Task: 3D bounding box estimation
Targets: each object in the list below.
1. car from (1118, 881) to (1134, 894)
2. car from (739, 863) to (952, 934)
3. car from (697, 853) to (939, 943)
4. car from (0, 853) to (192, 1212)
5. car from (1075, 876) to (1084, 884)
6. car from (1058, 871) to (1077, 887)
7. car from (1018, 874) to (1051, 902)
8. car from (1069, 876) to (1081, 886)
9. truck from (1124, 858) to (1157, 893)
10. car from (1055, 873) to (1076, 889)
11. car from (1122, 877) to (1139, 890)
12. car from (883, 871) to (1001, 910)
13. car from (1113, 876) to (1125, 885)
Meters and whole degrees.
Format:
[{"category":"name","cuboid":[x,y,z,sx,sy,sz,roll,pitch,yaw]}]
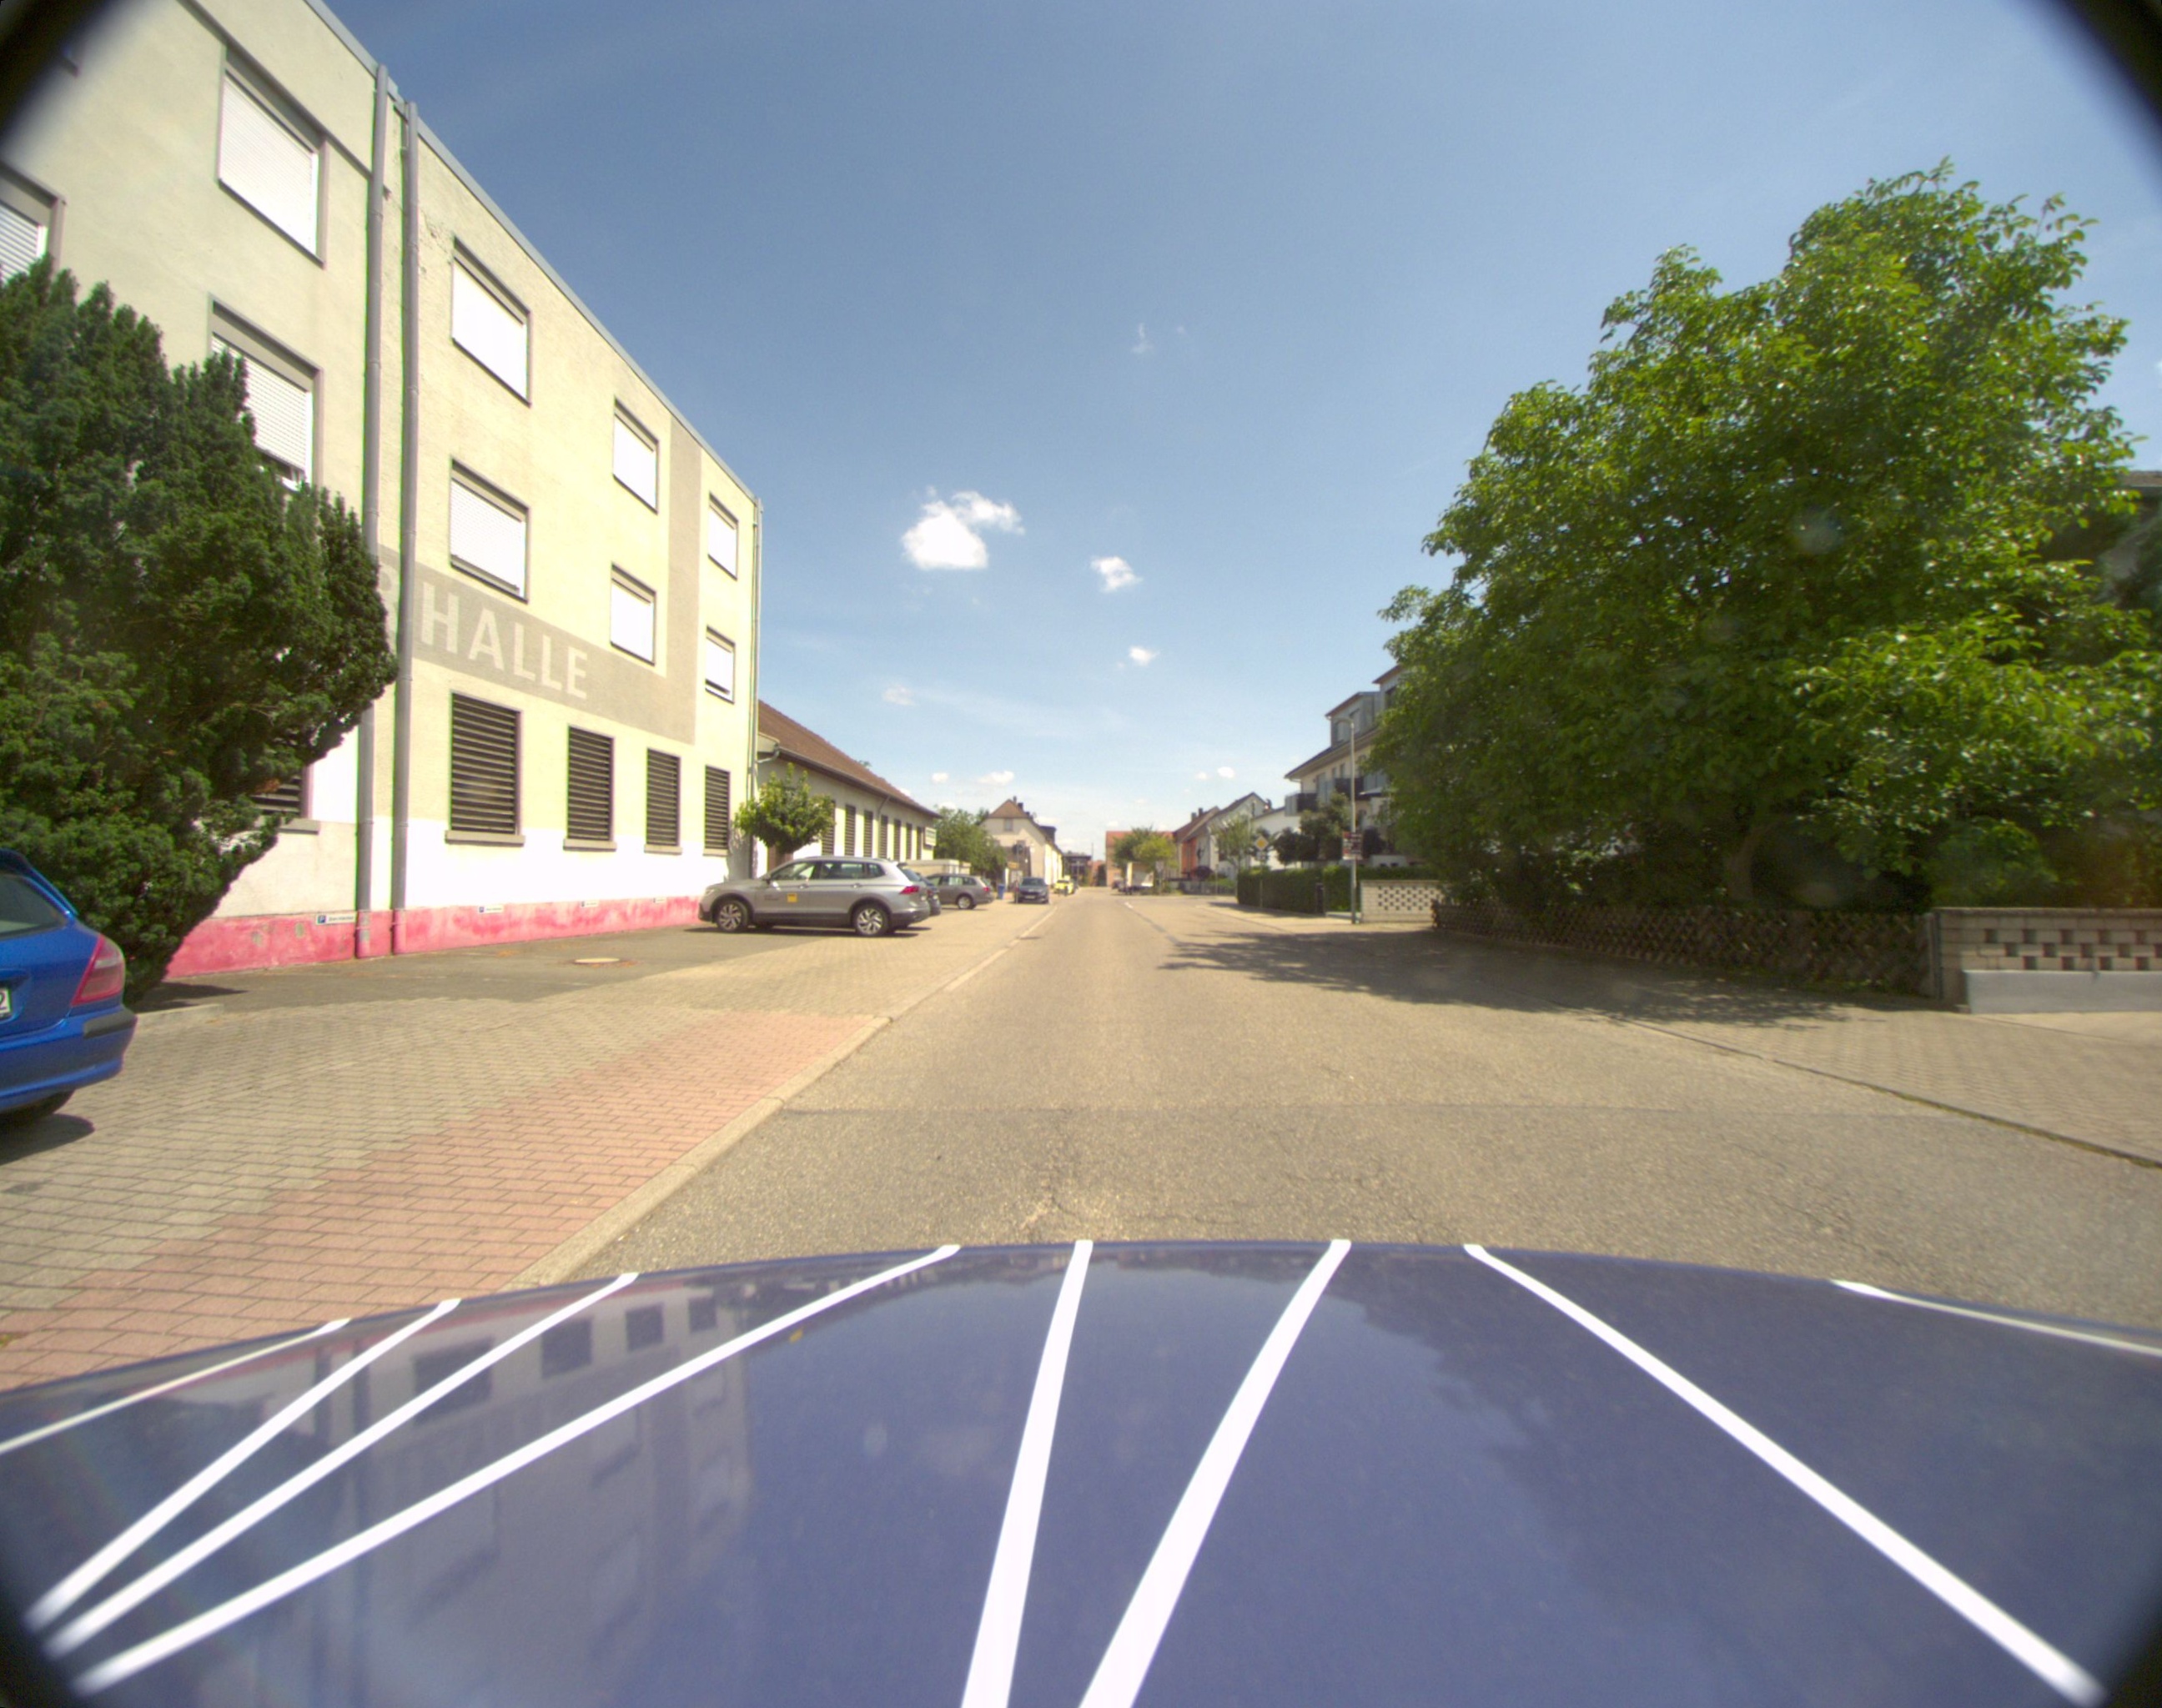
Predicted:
[{"category":"car","cuboid":[5.733,4.286,97.555,1.720,1.491,4.216,2,-2,0]},{"category":"car","cuboid":[-5.602,1.056,18.527,4.512,1.510,2.000,2,-1,0]},{"category":"car","cuboid":[-5.460,0.914,16.253,4.465,1.686,1.923,2,-1,-1]},{"category":"car","cuboid":[-6.620,0.651,2.894,4.333,1.431,1.779,3,1,0]},{"category":"car","cuboid":[-0.321,5.167,152.147,1.720,1.491,4.217,4,-2,1]},{"category":"car","cuboid":[-1.321,2.565,77.058,1.720,1.491,4.217,4,-2,1]},{"category":"car","cuboid":[-2.554,1.888,42.608,1.632,1.480,4.140,1,-2,-1]},{"category":"car","cuboid":[-1.024,4.328,122.088,1.720,1.491,4.217,4,-2,1]},{"category":"truck","cuboid":[6.021,2.208,77.300,2.444,3.226,7.037,4,-2,-1]},{"category":"car","cuboid":[-1.461,2.537,72.371,1.720,1.389,4.217,4,-2,1]},{"category":"car","cuboid":[5.931,3.500,91.091,1.720,1.491,4.216,2,-2,0]},{"category":"car","cuboid":[-5.743,1.505,31.802,4.537,1.445,1.919,2,-1,1]},{"category":"car","cuboid":[6.339,4.447,127.780,1.720,1.491,4.216,2,-2,0]}]
